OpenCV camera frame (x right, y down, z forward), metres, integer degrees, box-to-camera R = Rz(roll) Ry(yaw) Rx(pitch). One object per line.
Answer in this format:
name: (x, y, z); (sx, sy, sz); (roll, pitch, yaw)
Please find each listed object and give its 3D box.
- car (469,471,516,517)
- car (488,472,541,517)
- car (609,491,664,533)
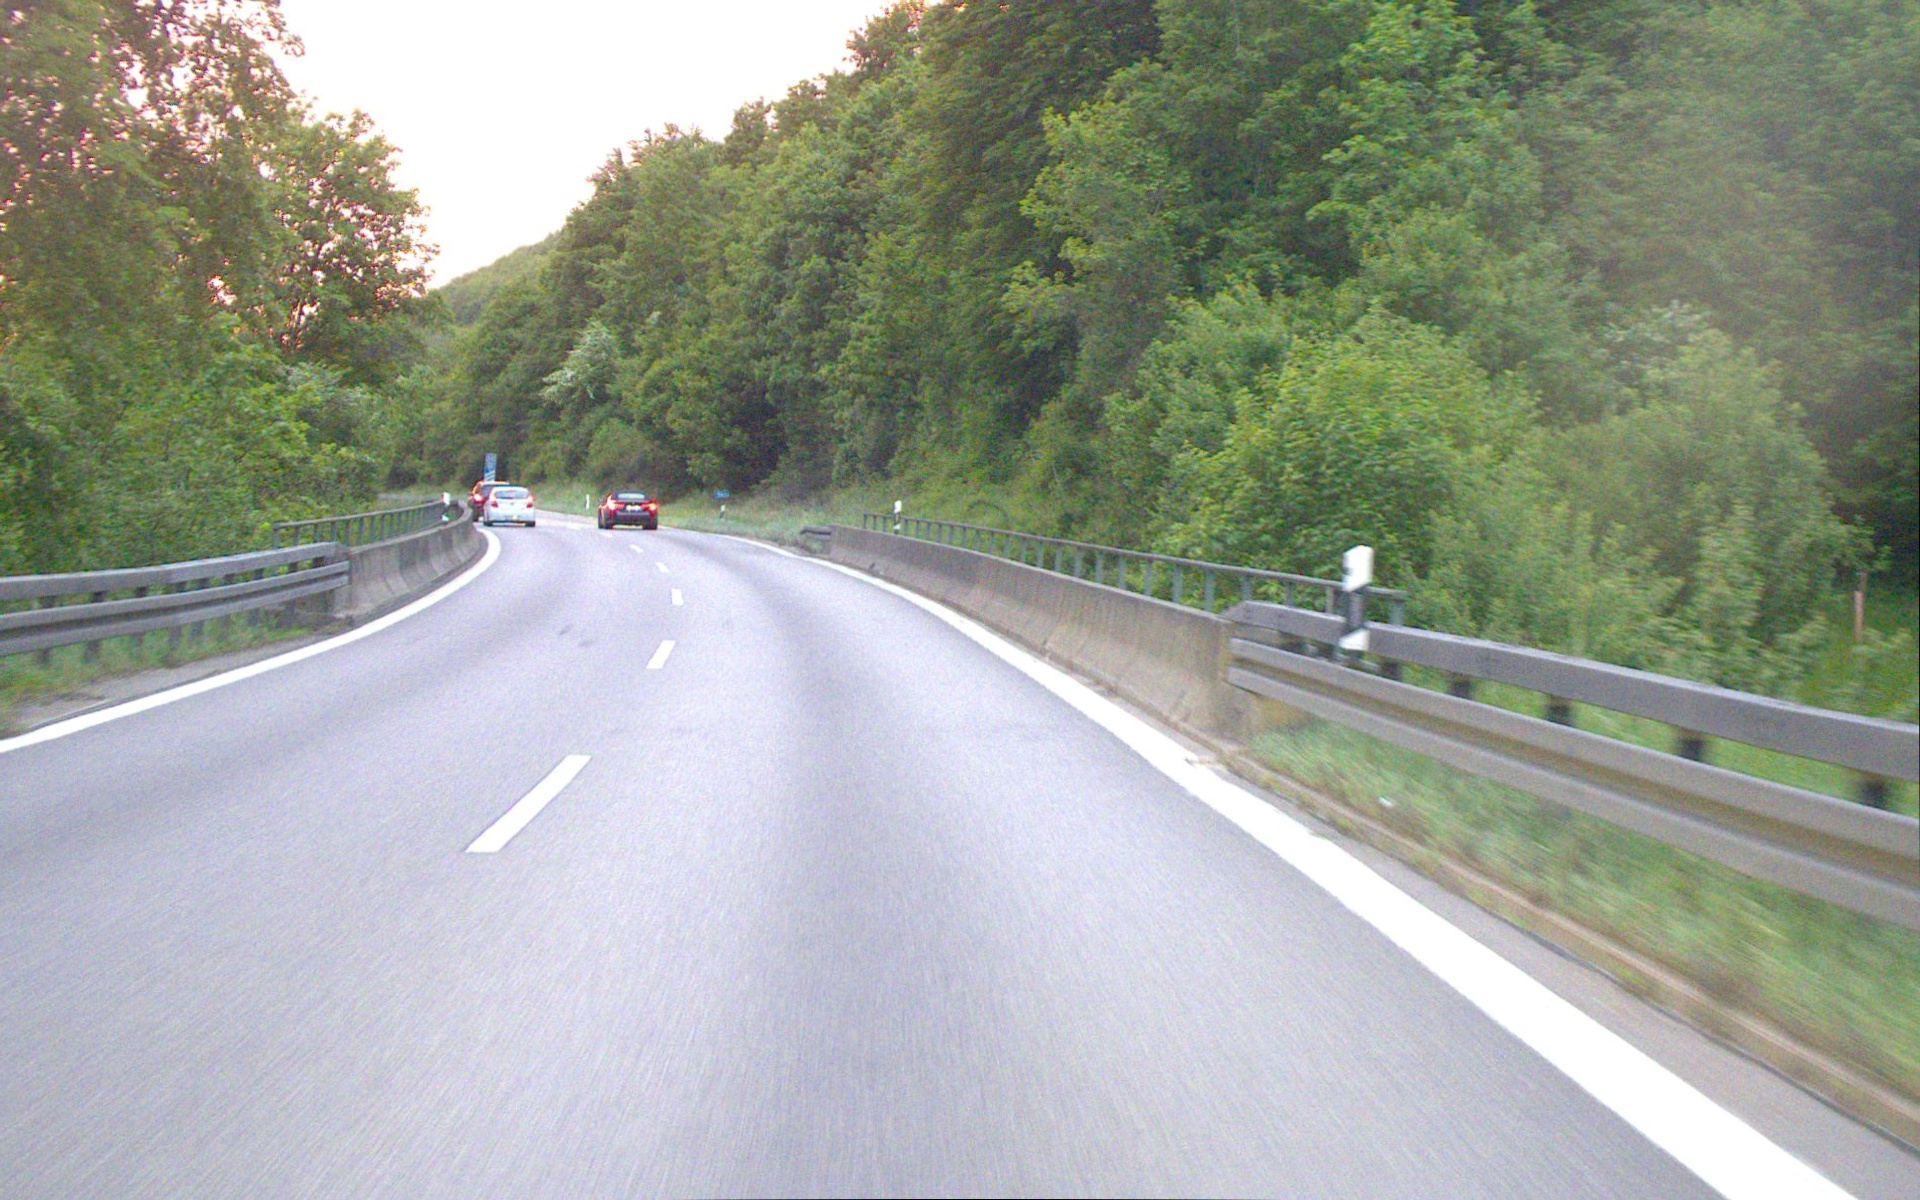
car: (-18.681, -4.206, 137.209); (1.718, 1.629, 4.001); (-4, 0, -8)
car: (-16.435, -3.886, 127.055); (1.718, 1.496, 4.001); (2, 0, -5)
car: (-11.698, -3.201, 124.196); (1.878, 1.461, 4.001); (-1, 2, -7)
